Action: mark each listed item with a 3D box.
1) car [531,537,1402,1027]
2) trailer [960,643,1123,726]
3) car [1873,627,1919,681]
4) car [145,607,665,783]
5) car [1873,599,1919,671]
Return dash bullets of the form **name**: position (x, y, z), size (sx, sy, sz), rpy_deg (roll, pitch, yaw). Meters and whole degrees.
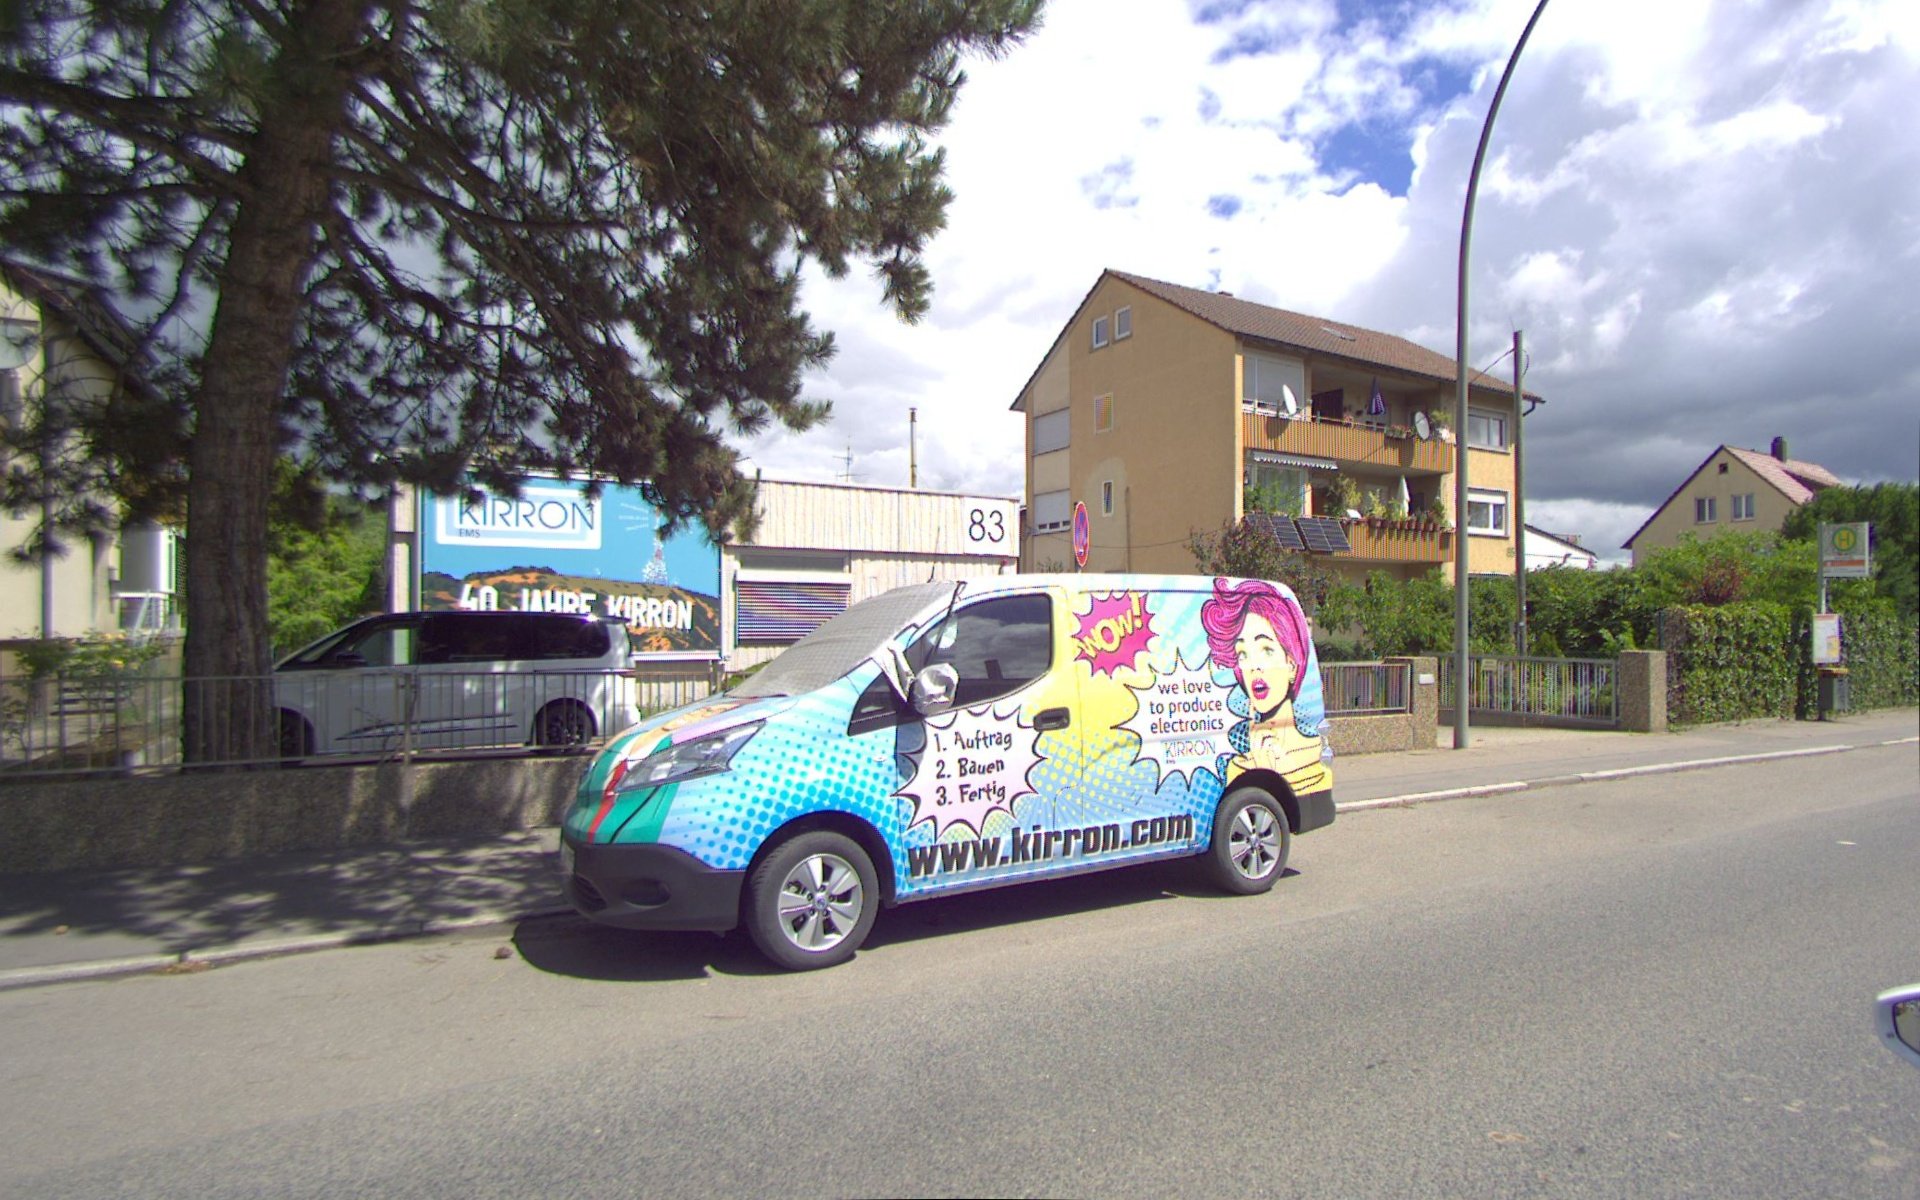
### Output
- **car**: position (0.198, 0.775, 5.900), size (4.837, 1.877, 1.825), rpy_deg (0, -4, -30)
- **trailer**: position (2.086, 2.304, 26.960), size (2.432, 1.908, 3.971), rpy_deg (1, -8, -31)
- **car**: position (29.480, 1.563, 29.284), size (5.257, 1.505, 1.992), rpy_deg (1, -2, -19)
- **car**: position (-6.787, 1.100, 12.913), size (5.416, 1.854, 2.070), rpy_deg (1, -3, -31)
- **car**: position (35.276, 1.192, 33.993), size (2.447, 2.529, 6.011), rpy_deg (1, -2, -29)
